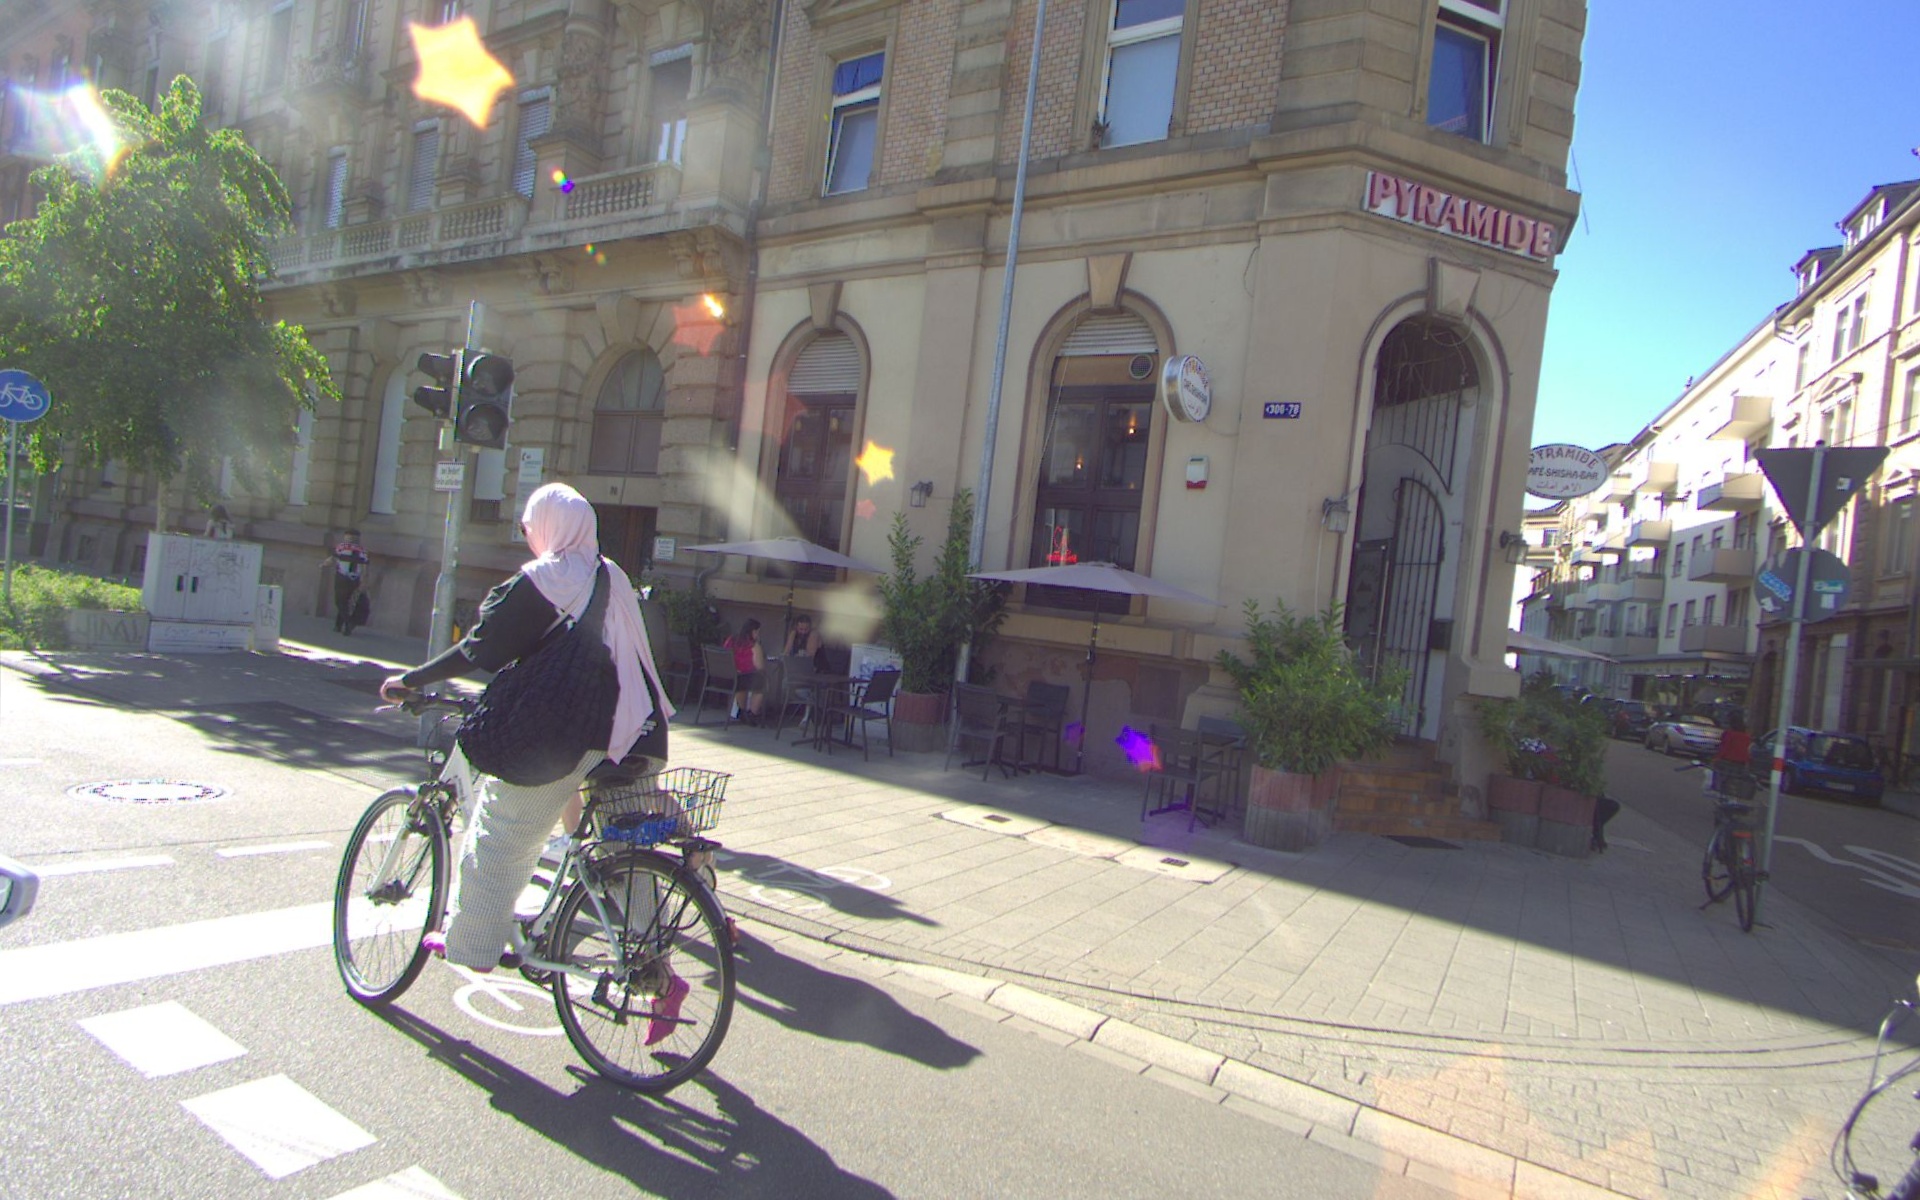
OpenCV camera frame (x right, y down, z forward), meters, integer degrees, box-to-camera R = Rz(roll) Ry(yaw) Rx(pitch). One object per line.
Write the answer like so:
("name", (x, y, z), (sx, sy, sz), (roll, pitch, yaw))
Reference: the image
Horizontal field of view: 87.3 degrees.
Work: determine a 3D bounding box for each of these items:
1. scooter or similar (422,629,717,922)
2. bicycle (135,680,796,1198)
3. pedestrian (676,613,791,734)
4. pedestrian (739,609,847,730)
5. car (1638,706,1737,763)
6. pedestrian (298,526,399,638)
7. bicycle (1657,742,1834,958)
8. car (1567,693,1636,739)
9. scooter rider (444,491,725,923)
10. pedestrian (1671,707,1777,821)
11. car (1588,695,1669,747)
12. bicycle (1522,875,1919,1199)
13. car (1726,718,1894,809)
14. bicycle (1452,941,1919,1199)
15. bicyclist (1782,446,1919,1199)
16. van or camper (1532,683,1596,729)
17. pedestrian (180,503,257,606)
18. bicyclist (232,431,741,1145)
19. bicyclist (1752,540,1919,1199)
("scooter or similar", (-1.927, 0.812, 4.985), (1.130, 1.171, 0.647), (7, -1, 26))
("bicycle", (-1.592, 0.902, 3.210), (1.917, 1.018, 0.726), (7, -2, 24))
("pedestrian", (-2.490, 0.798, 11.079), (0.867, 1.197, 0.718), (6, 0, 31))
("pedestrian", (-1.966, 0.816, 11.862), (0.873, 1.298, 0.726), (6, 0, 31))
("car", (21.856, 4.001, 30.348), (1.600, 1.337, 3.389), (6, -2, 24))
("pedestrian", (-10.121, -0.292, 16.655), (1.096, 1.714, 0.969), (6, 1, 35))
("bicycle", (6.156, 1.852, 7.930), (0.804, 1.247, 2.211), (10, 2, 38))
("car", (26.288, 4.710, 41.304), (1.599, 1.423, 3.439), (8, 0, 22))
("scooter rider", (-1.841, 0.484, 4.974), (0.882, 1.888, 0.663), (7, -1, 27))
("pedestrian", (11.987, 2.556, 15.813), (0.891, 1.592, 0.835), (7, -1, 4))
("car", (24.258, 4.372, 36.621), (1.599, 1.423, 3.439), (8, 0, 22))
("bicycle", (2.183, 1.304, 1.890), (1.920, 1.018, 0.829), (6, -2, 32))
("car", (18.782, 3.551, 22.432), (1.587, 1.428, 3.703), (7, -1, 21))
("bicycle", (1.572, 1.193, 1.044), (1.921, 1.018, 0.724), (6, -2, 33))
("bicyclist", (1.589, 0.669, 1.084), (0.961, 1.676, 0.699), (7, -1, 34))
("van or camper", (30.656, 5.335, 51.185), (1.850, 1.867, 4.545), (8, 0, 22))
("pedestrian", (-15.008, -0.917, 20.356), (1.081, 1.945, 0.889), (6, 2, 37))
("bicyclist", (-1.465, 0.485, 3.184), (1.071, 1.838, 0.726), (7, -1, 23))
("bicyclist", (2.246, 0.841, 1.892), (0.972, 1.747, 0.853), (7, -1, 32))
